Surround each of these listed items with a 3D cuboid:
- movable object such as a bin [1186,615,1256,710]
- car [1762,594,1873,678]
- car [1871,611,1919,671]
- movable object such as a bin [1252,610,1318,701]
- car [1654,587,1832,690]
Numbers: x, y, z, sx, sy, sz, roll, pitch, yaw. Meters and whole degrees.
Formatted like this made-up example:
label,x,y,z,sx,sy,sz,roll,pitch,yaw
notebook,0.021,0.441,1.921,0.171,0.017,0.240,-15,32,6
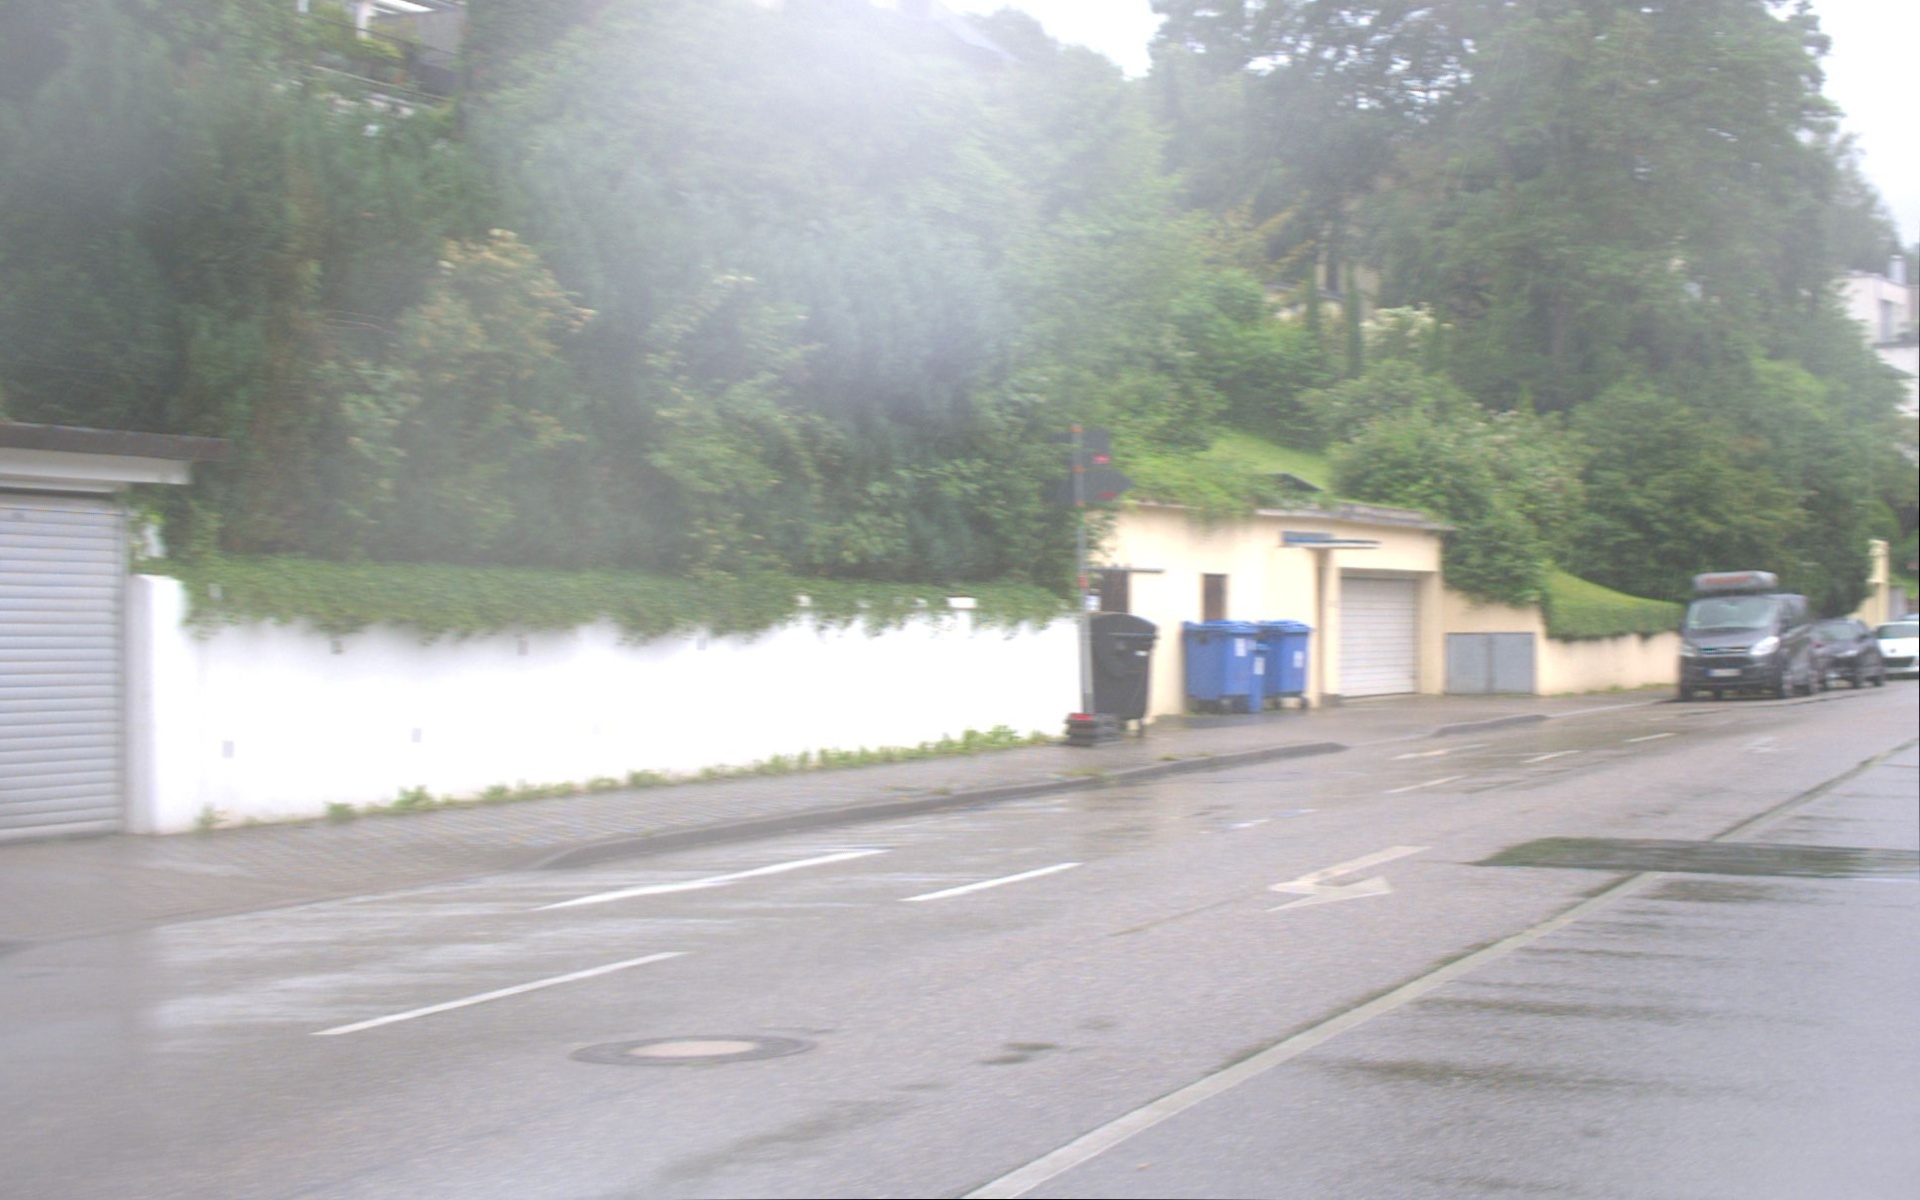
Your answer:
label,x,y,z,sx,sy,sz,roll,pitch,yaw
movable object such as a bin,3.749,0.896,49.343,0.712,1.331,0.833,-1,1,27
car,18.350,0.744,73.458,1.820,1.676,3.996,-1,1,21
car,23.283,0.986,83.736,1.712,1.340,3.676,-1,1,21
movable object such as a bin,4.854,0.821,51.330,0.712,1.331,0.833,-1,1,27
car,14.556,0.689,63.703,2.298,1.747,5.174,-1,1,23
